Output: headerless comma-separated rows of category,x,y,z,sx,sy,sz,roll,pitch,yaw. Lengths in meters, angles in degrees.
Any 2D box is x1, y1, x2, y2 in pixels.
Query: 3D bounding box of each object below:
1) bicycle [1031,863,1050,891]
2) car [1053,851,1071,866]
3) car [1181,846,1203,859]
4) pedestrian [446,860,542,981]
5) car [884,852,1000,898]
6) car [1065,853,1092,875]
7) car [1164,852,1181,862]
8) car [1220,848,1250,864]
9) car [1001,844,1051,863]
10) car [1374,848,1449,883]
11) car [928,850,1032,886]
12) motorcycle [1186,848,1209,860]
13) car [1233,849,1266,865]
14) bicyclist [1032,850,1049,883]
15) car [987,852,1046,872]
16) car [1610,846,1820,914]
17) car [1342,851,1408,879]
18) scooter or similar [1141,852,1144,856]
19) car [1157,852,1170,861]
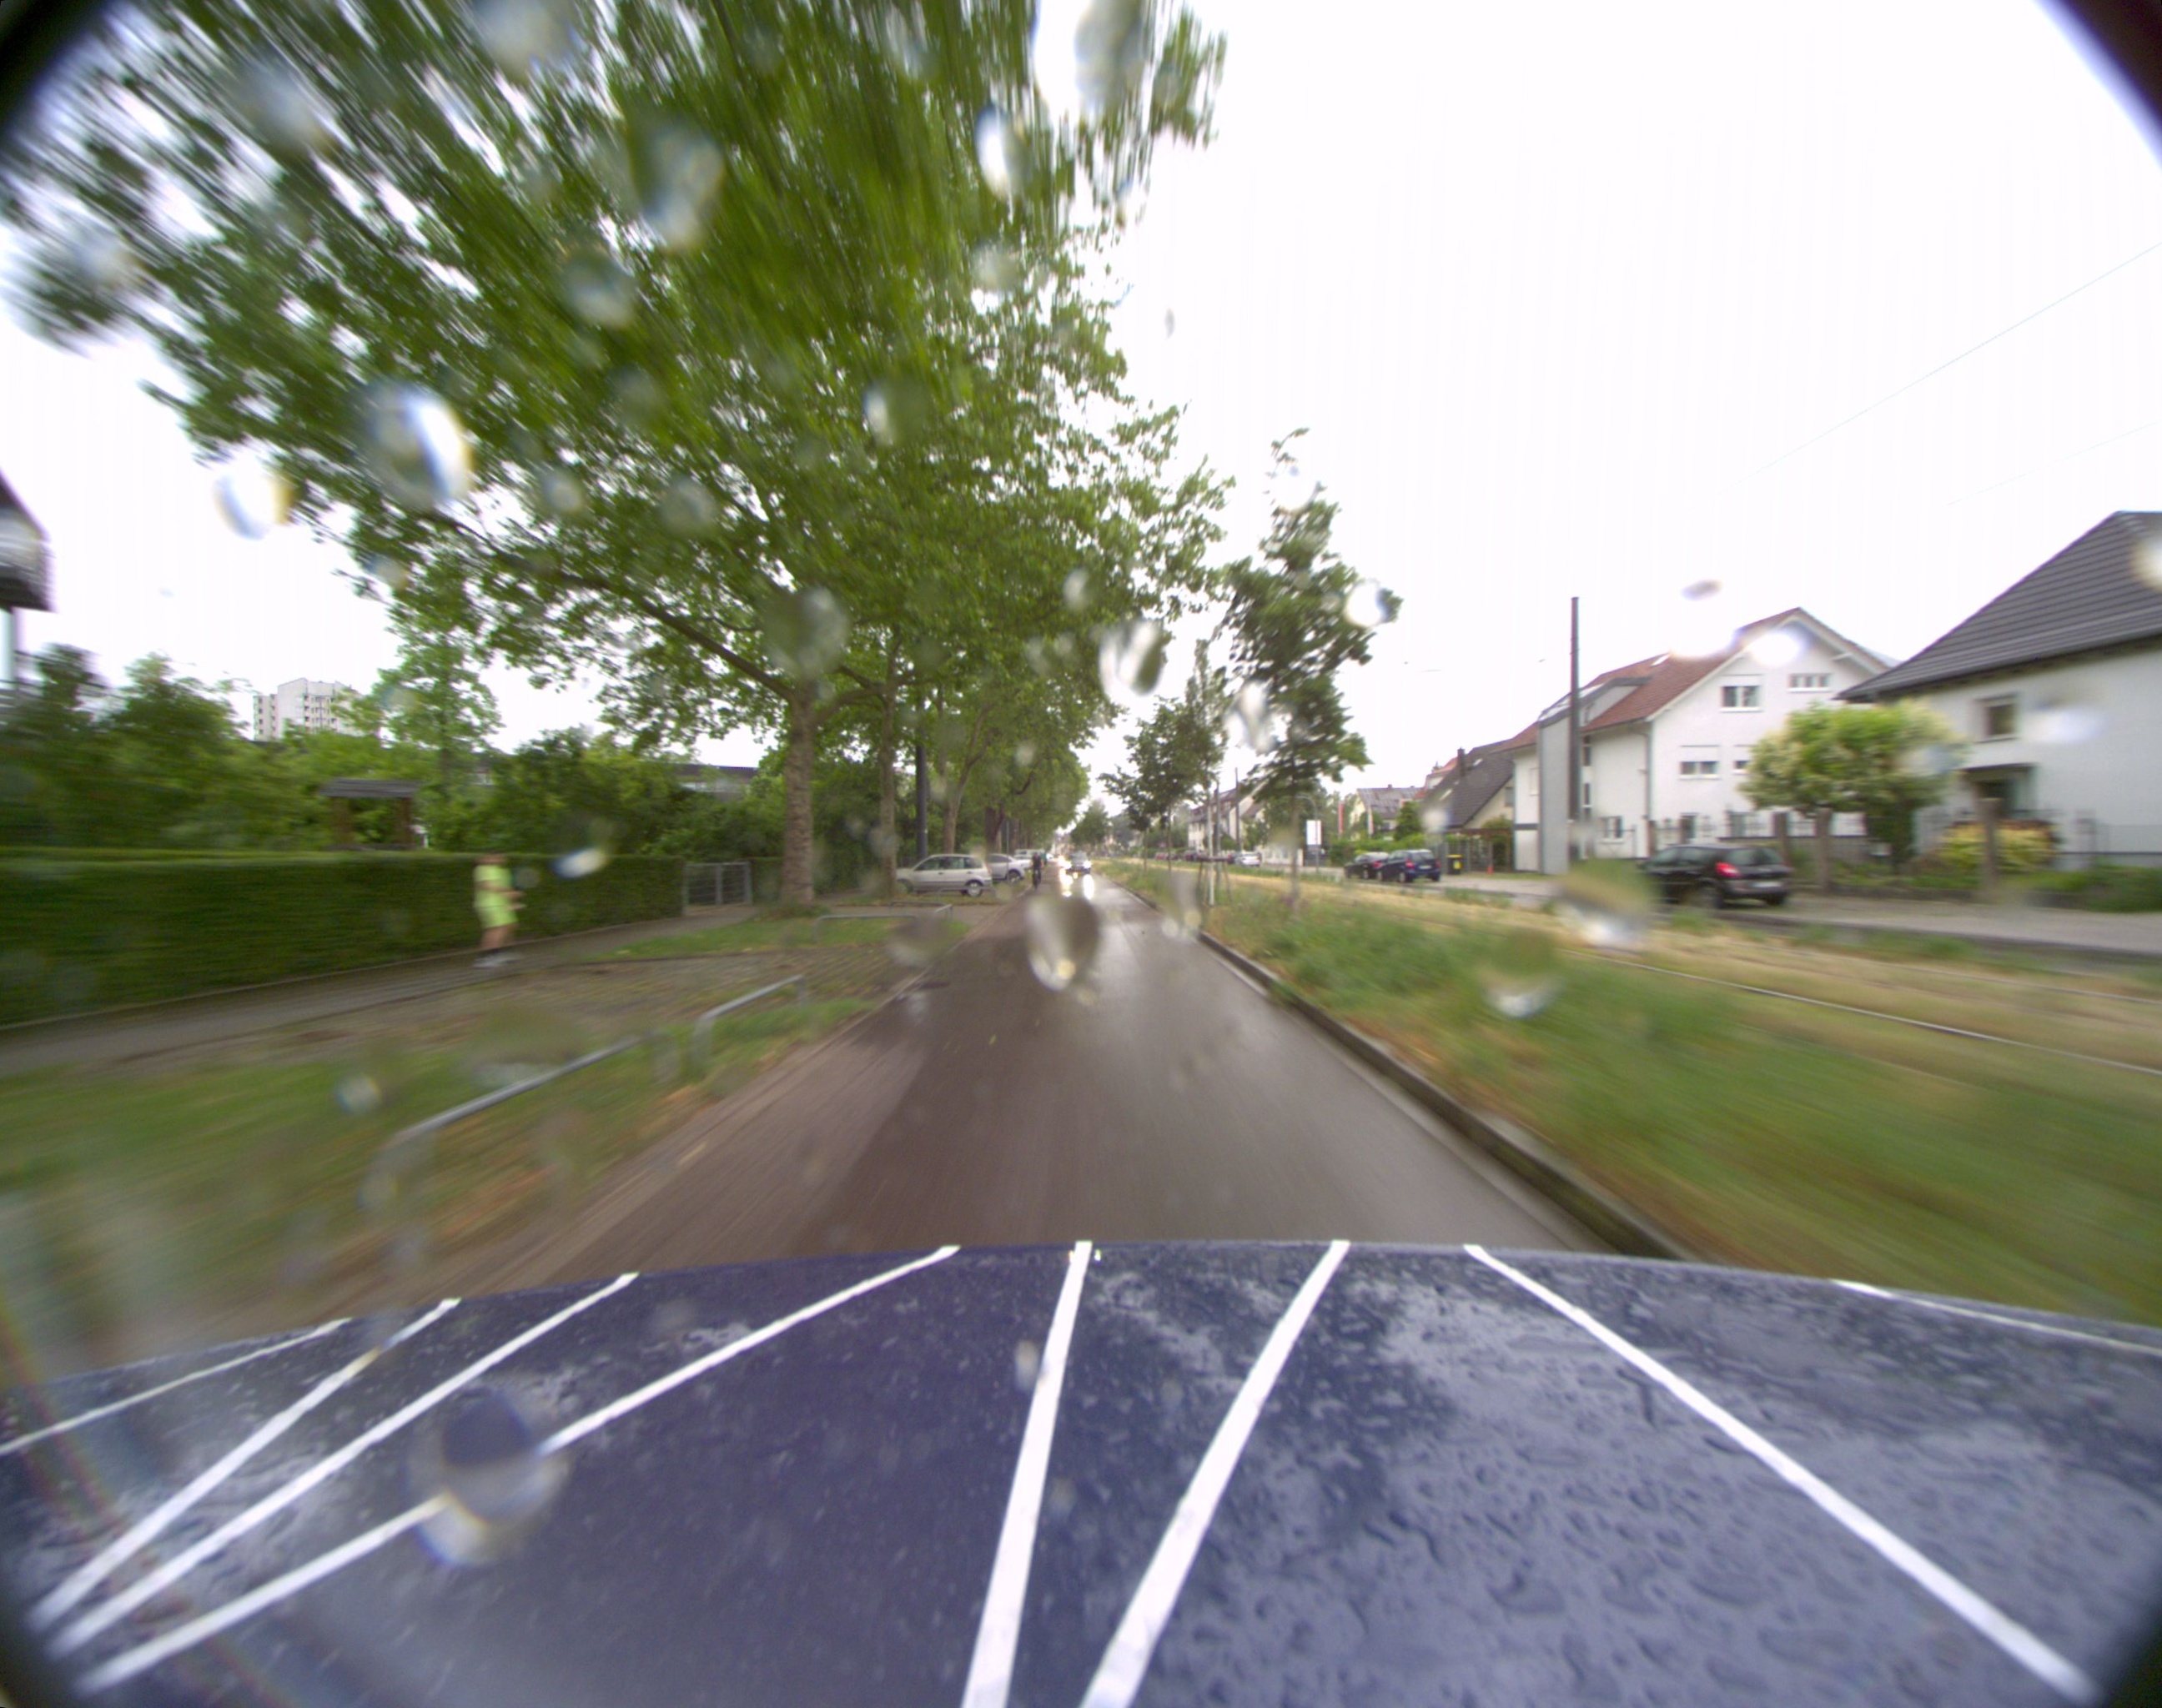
bicycle,-1.803,0.988,33.740,0.675,1.136,2.443,1,0,-6
car,-2.011,0.478,80.547,1.781,1.477,3.999,1,0,-3
car,15.083,-0.219,103.347,1.999,1.665,4.385,-2,1,-3
pedestrian,-7.859,0.857,10.215,0.558,1.529,0.966,-1,1,-4
car,-4.983,0.725,27.094,3.871,1.557,1.616,1,0,-19
car,-0.209,0.725,55.506,1.781,1.477,3.999,1,0,-3
car,14.403,0.445,119.777,1.998,1.402,4.761,-3,0,0
car,15.435,0.202,76.292,1.998,1.447,4.531,-3,0,0
car,-5.951,-0.001,82.449,5.040,2.002,1.995,1,0,-36
car,16.159,0.537,37.384,1.879,1.541,3.869,-3,0,-1
car,-5.028,0.649,38.079,4.784,1.658,1.989,-1,1,-37
motorcycle,15.015,0.002,97.762,2.680,1.403,1.269,-1,2,41
car,15.720,0.258,71.097,1.999,1.402,3.970,-3,0,-2
bicyclist,-1.798,0.546,33.700,0.675,1.421,0.753,1,1,-6
car,-5.349,0.650,63.342,4.569,1.535,1.883,2,-1,-33
car,16.390,0.618,19.985,1.998,1.507,4.205,-3,0,0
car,16.159,0.570,42.004,1.998,1.343,4.240,-3,0,0
scooter or similar,13.816,-0.033,171.499,0.347,0.905,1.258,-1,0,-7
car,14.171,0.460,130.898,1.802,1.448,4.000,-3,0,0
